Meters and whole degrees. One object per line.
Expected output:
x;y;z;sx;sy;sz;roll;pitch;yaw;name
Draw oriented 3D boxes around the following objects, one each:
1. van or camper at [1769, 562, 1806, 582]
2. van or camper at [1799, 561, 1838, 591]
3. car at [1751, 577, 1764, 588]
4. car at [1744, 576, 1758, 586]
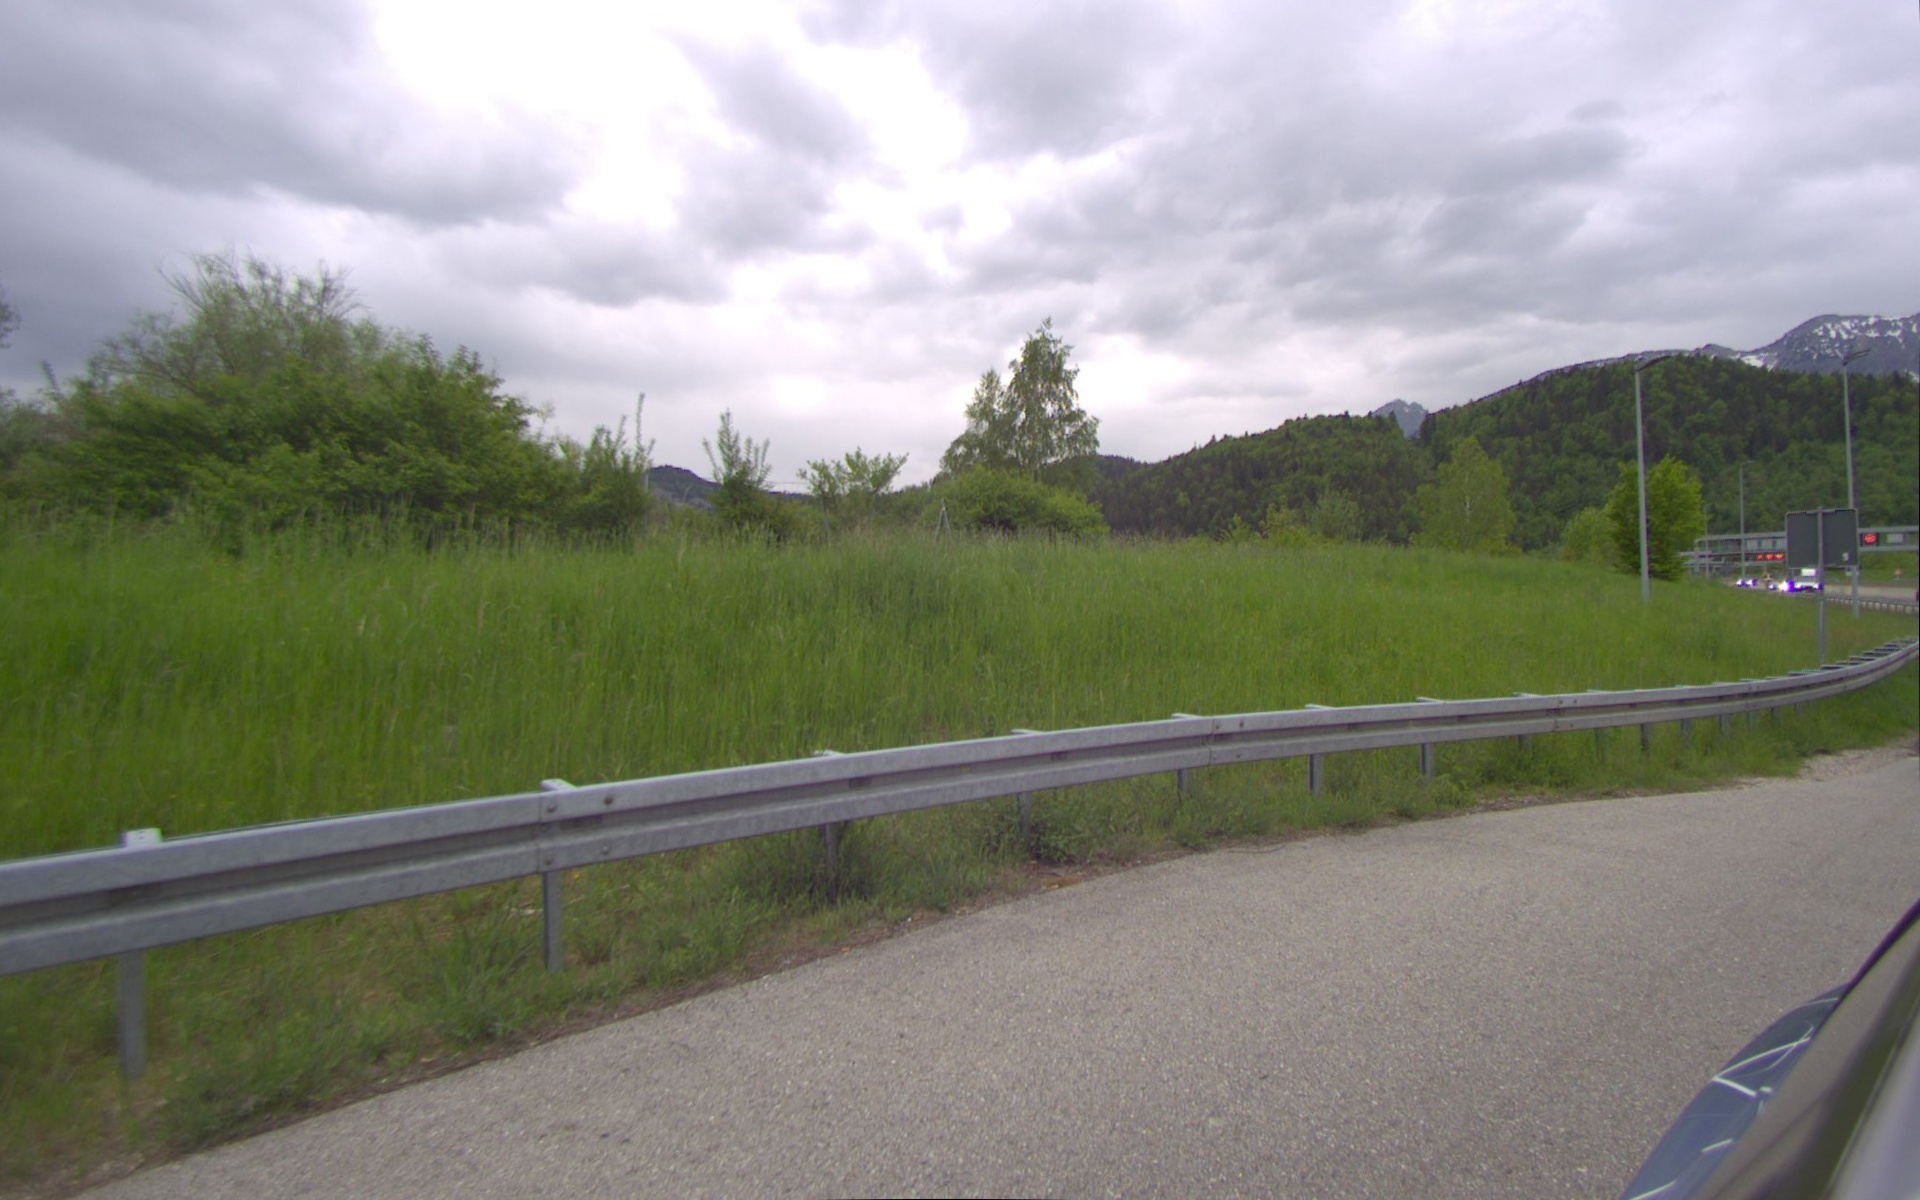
118.526;-3.983;145.043;3.322;2.678;8.099;1;1;35;van or camper
101.870;-2.826;120.112;2.565;3.434;7.269;1;1;33;van or camper
147.148;-3.254;186.688;1.858;1.895;3.946;1;1;37;car
146.428;-3.527;187.260;1.710;1.659;4.295;1;1;34;car
